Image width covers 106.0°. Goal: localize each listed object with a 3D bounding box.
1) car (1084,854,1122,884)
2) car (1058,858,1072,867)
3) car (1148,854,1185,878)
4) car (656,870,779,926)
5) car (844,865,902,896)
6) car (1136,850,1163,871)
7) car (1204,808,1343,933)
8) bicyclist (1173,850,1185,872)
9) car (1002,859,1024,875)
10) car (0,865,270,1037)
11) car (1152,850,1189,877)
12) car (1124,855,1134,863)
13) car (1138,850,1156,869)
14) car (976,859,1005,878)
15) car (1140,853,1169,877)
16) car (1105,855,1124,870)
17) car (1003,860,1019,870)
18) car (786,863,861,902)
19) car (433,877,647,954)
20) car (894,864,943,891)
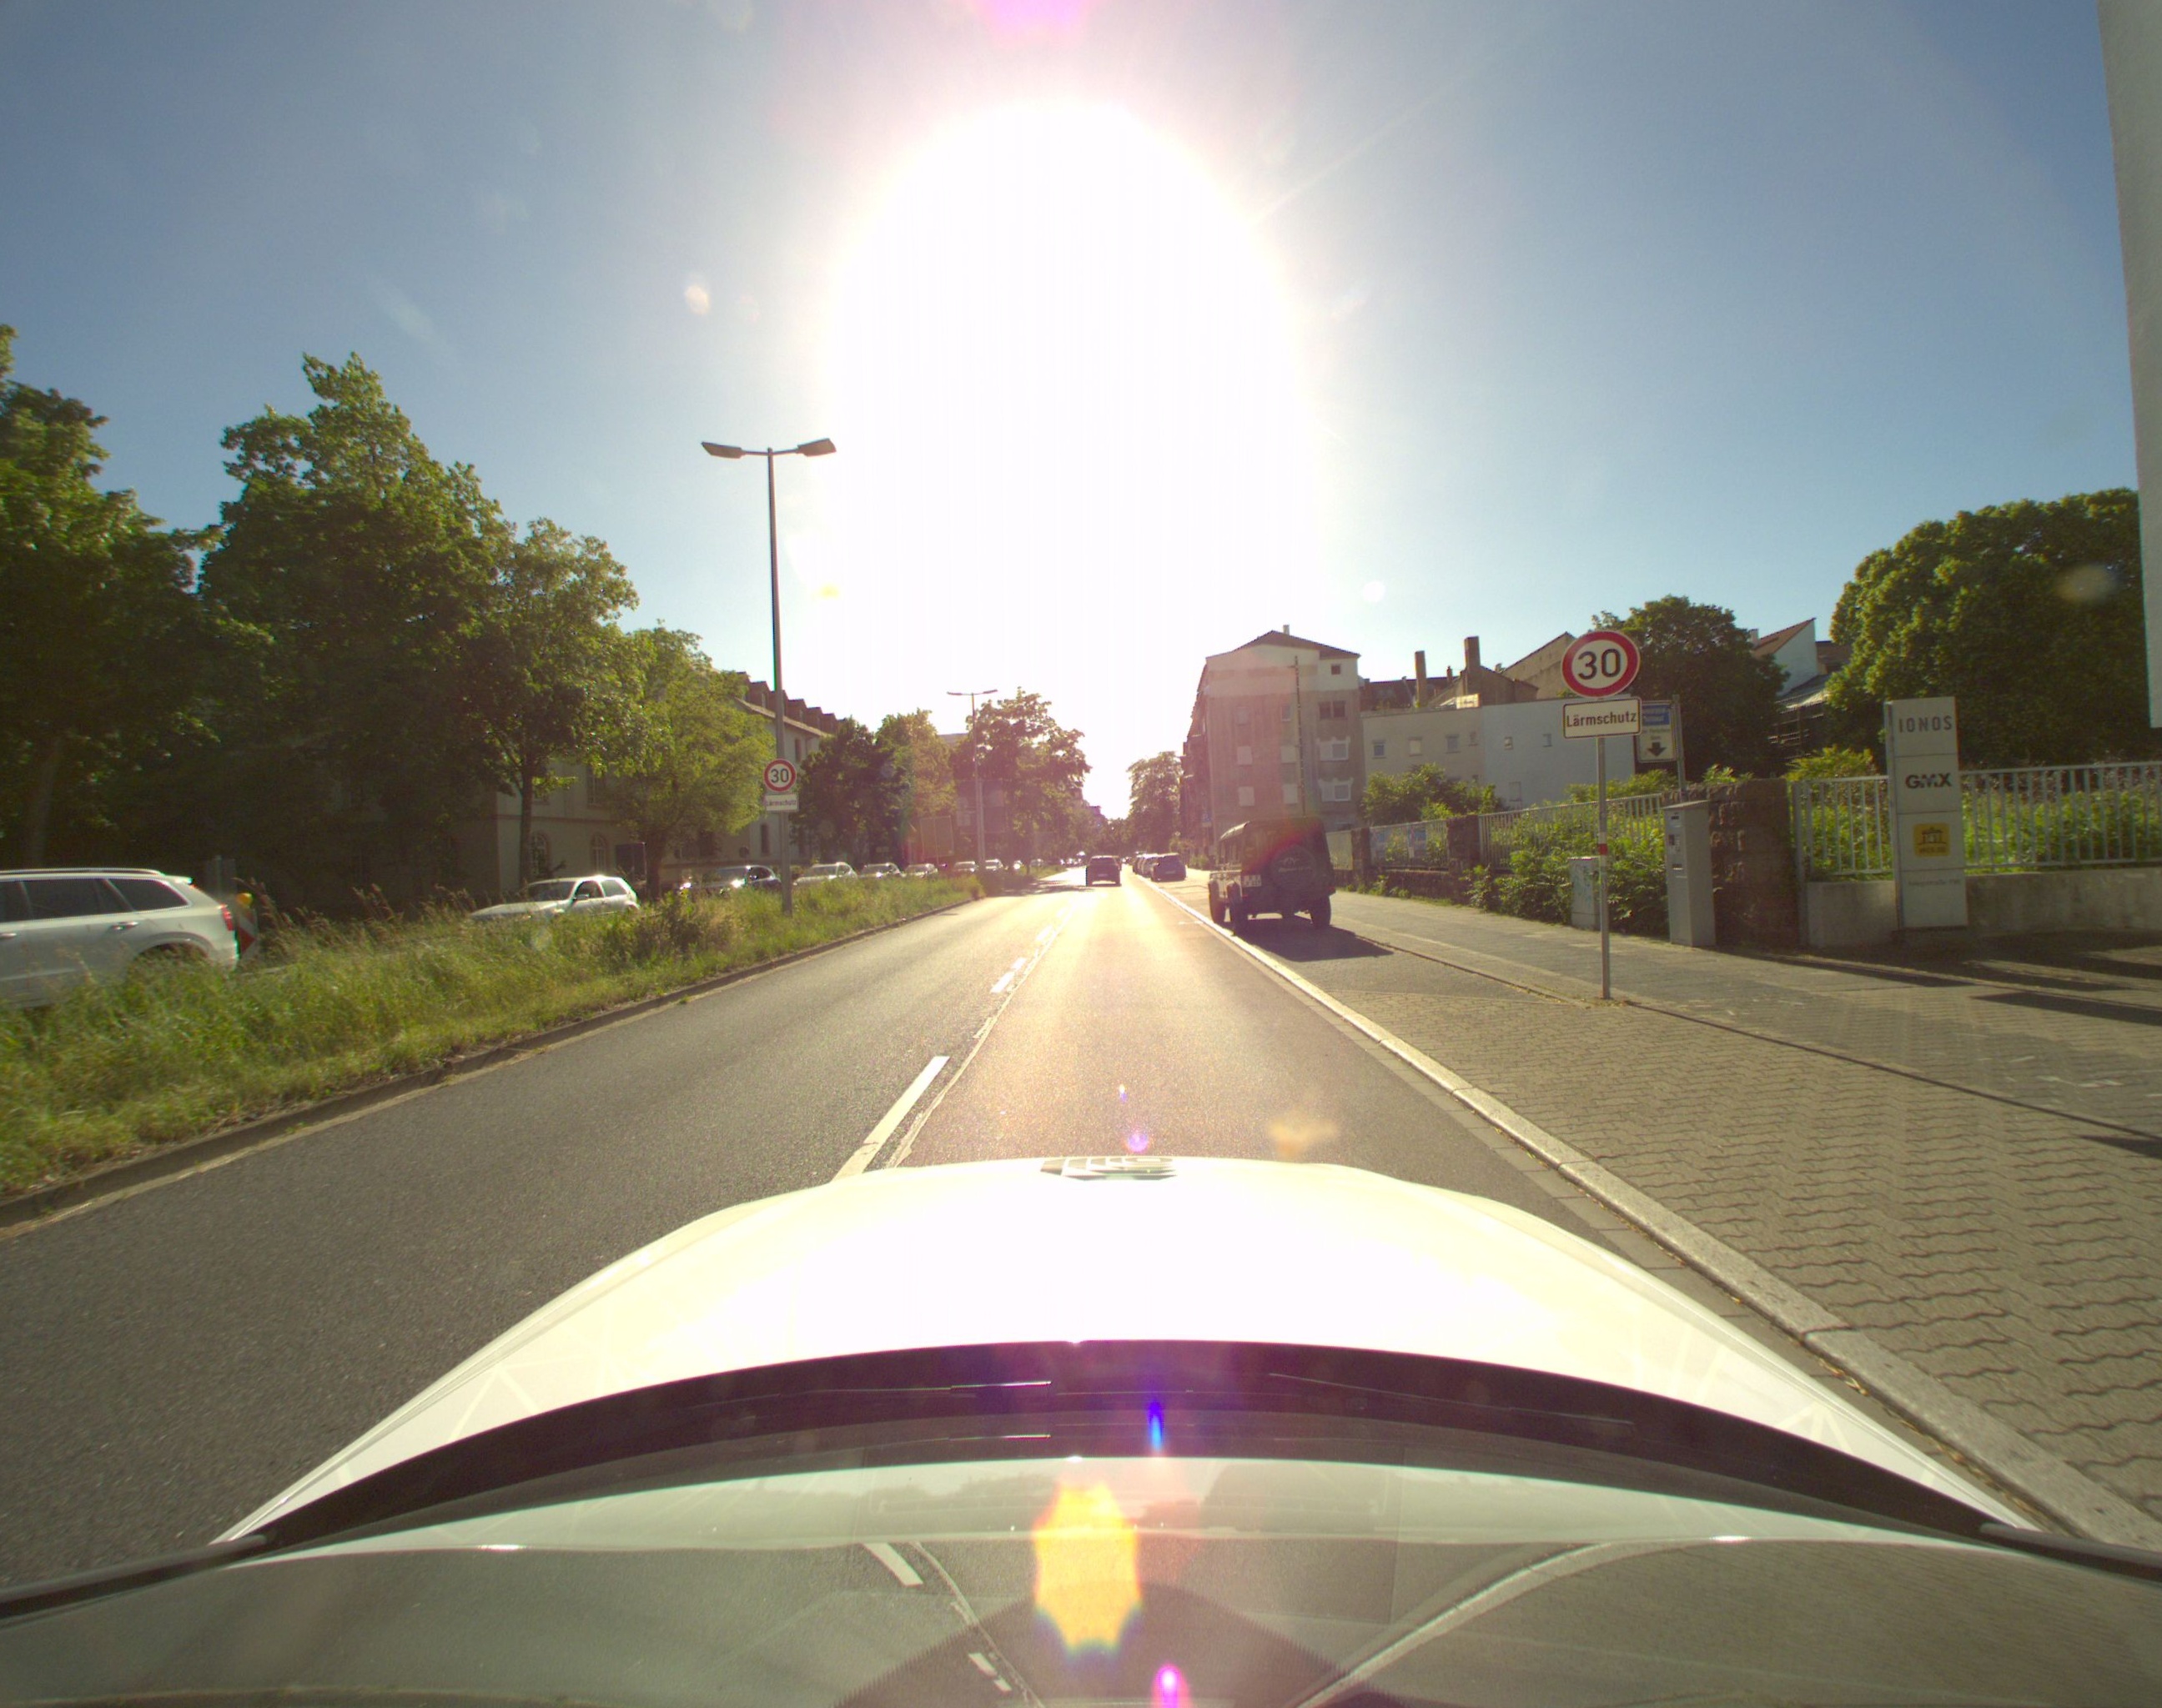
[{"bbox_3d":[1.110,0.762,43.278,1.889,1.519,3.999,-1,0,0],"label":"car"},{"bbox_3d":[-2.980,1.649,150.890,1.748,1.519,3.870,-3,0,10],"label":"car"},{"bbox_3d":[4.866,0.658,46.737,1.662,1.182,3.901,-6,0,1],"label":"car"},{"bbox_3d":[-11.467,1.325,26.061,1.789,1.519,4.445,-2,-1,1],"label":"car"},{"bbox_3d":[-10.871,1.381,42.828,1.789,1.519,4.260,-2,-2,2],"label":"car"},{"bbox_3d":[5.183,0.483,61.972,1.663,1.519,3.659,-3,0,-1],"label":"car"},{"bbox_3d":[3.614,0.303,16.154,1.654,2.013,4.778,-4,-1,2],"label":"car"},{"bbox_3d":[7.311,0.537,60.728,0.738,1.580,1.101,-2,0,4],"label":"bicyclist"},{"bbox_3d":[-7.164,1.417,86.528,1.789,1.519,4.087,-4,-1,1],"label":"car"},{"bbox_3d":[-11.953,1.035,8.517,1.789,1.743,5.033,-3,-1,1],"label":"car"},{"bbox_3d":[5.617,0.590,51.505,1.663,1.460,3.983,-6,0,-1],"label":"car"},{"bbox_3d":[9.941,1.063,169.057,1.912,1.640,4.004,-3,0,4],"label":"car"},{"bbox_3d":[6.979,0.586,86.189,1.810,1.844,4.370,-3,0,5],"label":"car"},{"bbox_3d":[-8.218,1.309,74.162,1.894,1.626,4.538,-4,-1,1],"label":"car"},{"bbox_3d":[5.048,0.755,56.210,1.603,1.446,3.659,-6,0,1],"label":"car"},{"bbox_3d":[3.435,0.896,83.772,1.785,1.520,3.850,-2,-1,2],"label":"car"},{"bbox_3d":[-13.143,2.106,152.976,1.980,1.662,3.976,-3,0,-17],"label":"car"},{"bbox_3d":[-11.172,1.180,35.581,1.789,1.519,4.259,-2,-1,1],"label":"car"},{"bbox_3d":[-11.711,1.254,18.039,1.789,1.352,4.259,-2,-1,1],"label":"car"},{"bbox_3d":[-10.063,1.431,50.755,1.831,1.519,4.670,-3,0,3],"label":"car"}]
